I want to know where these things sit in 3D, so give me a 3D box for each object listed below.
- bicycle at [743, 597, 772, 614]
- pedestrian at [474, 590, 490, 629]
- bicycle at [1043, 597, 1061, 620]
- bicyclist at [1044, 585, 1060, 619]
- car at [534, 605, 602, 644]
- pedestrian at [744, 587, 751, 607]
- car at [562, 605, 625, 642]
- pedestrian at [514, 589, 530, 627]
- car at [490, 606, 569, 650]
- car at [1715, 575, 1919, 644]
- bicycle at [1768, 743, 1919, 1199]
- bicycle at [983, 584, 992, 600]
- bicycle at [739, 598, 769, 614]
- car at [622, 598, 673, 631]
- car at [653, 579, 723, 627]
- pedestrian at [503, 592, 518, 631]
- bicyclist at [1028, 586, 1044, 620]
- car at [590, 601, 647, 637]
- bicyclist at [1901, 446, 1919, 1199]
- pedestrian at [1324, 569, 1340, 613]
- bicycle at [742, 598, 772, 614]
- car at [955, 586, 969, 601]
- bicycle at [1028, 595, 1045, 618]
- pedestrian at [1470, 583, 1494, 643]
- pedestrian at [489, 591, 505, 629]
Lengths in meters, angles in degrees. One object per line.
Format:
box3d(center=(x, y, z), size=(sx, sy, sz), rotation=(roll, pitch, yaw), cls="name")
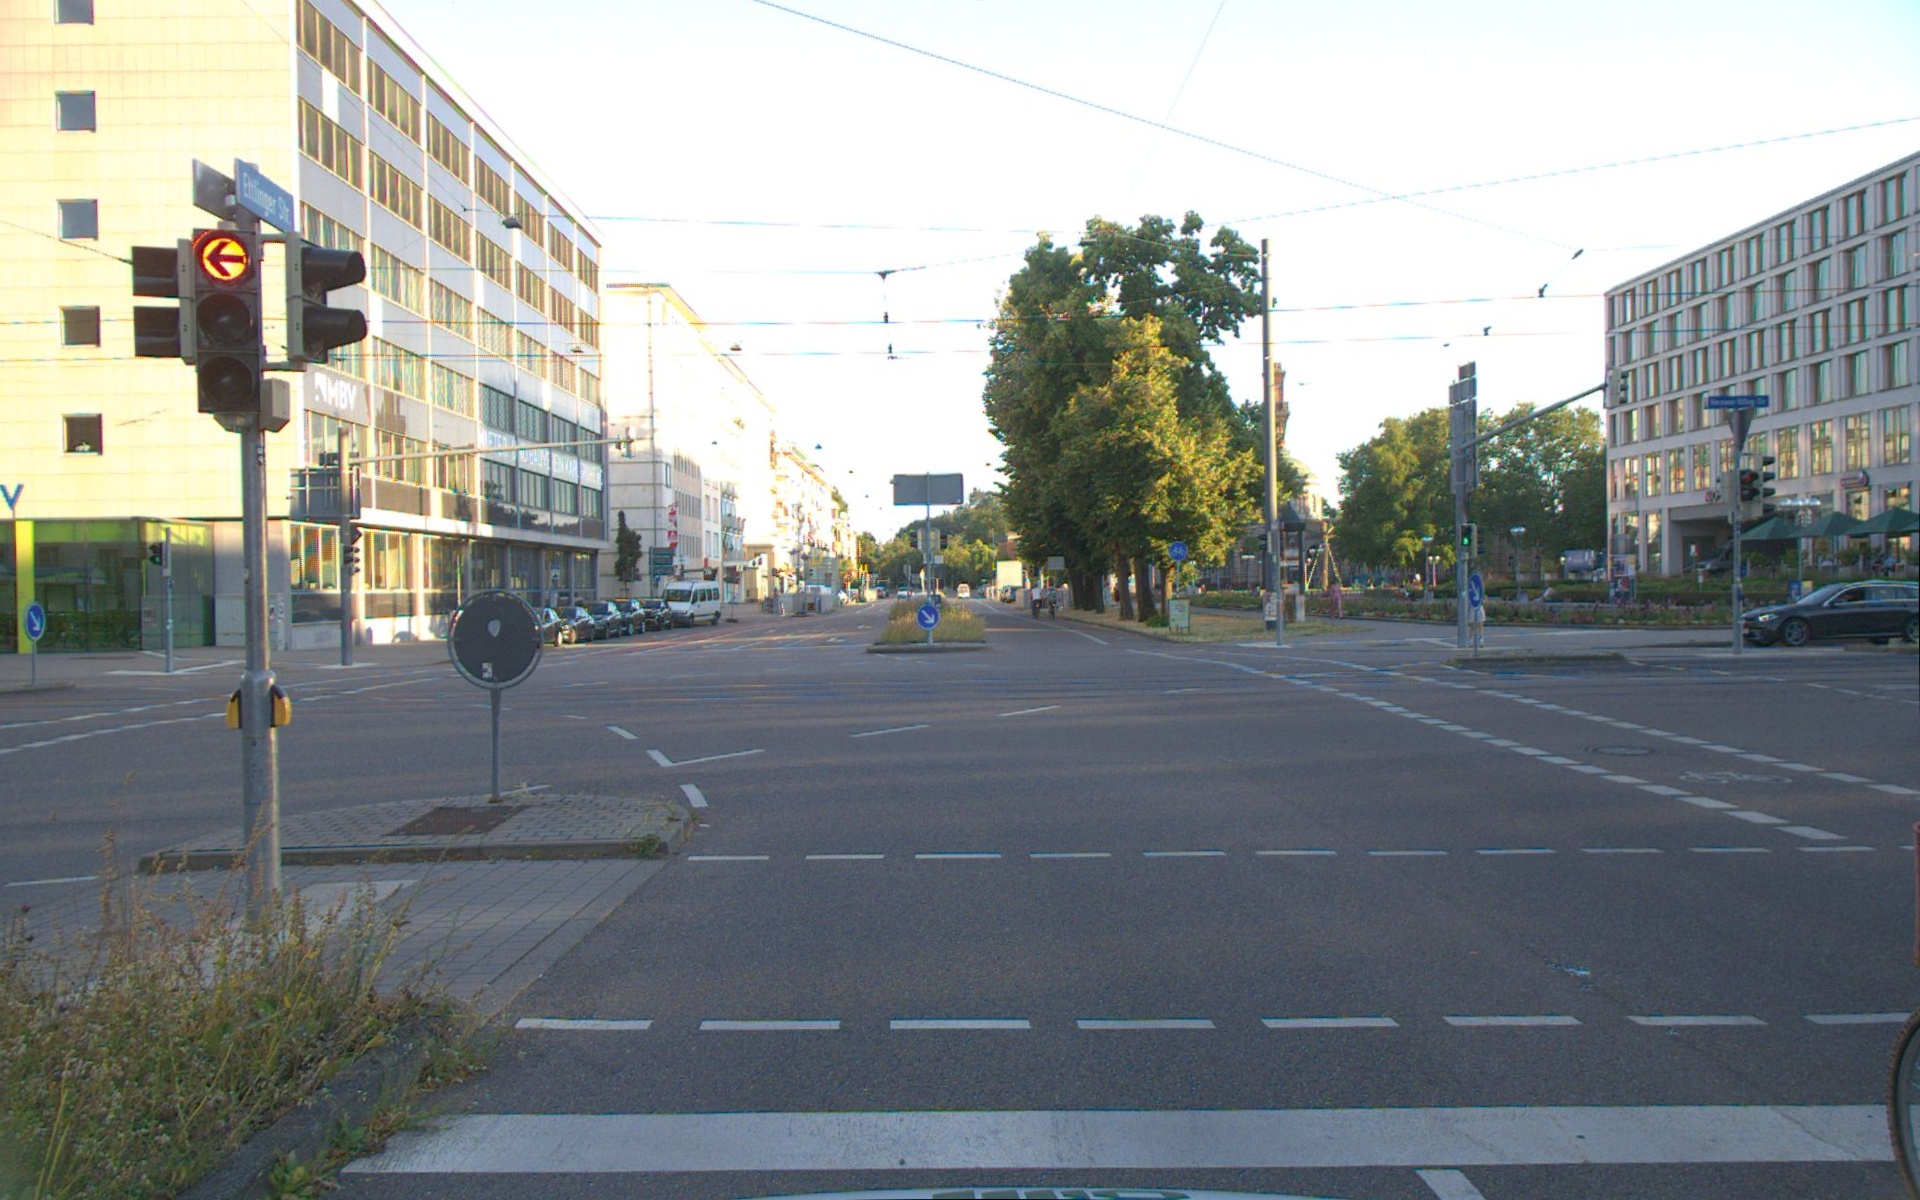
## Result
box3d(center=(-15.737, 0.415, 128.637), size=(2.161, 1.258, 0.839), rotation=(-1, 0, -2), cls="bicycle")
box3d(center=(-21.217, 0.431, 73.413), size=(0.540, 1.708, 0.500), rotation=(-1, 0, -1), cls="pedestrian")
box3d(center=(4.756, 0.418, 85.336), size=(0.731, 1.164, 2.505), rotation=(-1, 0, -1), cls="bicycle")
box3d(center=(4.746, 0.084, 85.253), size=(0.731, 1.720, 0.799), rotation=(-1, 0, -1), cls="bicyclist")
box3d(center=(-16.110, 0.989, 68.178), size=(1.882, 1.489, 3.999), rotation=(-1, 0, -1), cls="car")
box3d(center=(-21.131, -0.291, 164.498), size=(0.666, 2.049, 0.545), rotation=(-1, 0, -1), cls="pedestrian")
box3d(center=(-16.130, 1.009, 72.992), size=(1.882, 1.489, 3.999), rotation=(-1, 0, -1), cls="car")
box3d(center=(-19.451, 0.351, 73.514), size=(0.540, 1.708, 0.500), rotation=(-1, 0, -1), cls="pedestrian")
box3d(center=(-16.002, 1.029, 61.683), size=(1.882, 1.489, 4.102), rotation=(-1, 0, -1), cls="car")
box3d(center=(21.067, 0.210, 39.932), size=(4.724, 1.542, 2.000), rotation=(-1, 0, 1), cls="car")
box3d(center=(2.183, 0.914, 2.826), size=(0.599, 1.152, 2.004), rotation=(1, 0, -1), cls="bicycle")
box3d(center=(3.484, -1.014, 208.832), size=(0.981, 2.049, 4.002), rotation=(-1, 0, 3), cls="bicycle")
box3d(center=(-15.574, 0.465, 125.190), size=(2.161, 1.131, 0.618), rotation=(-1, 0, -3), cls="bicycle")
box3d(center=(-15.951, 0.730, 84.527), size=(1.882, 1.595, 3.999), rotation=(-1, 0, -1), cls="car")
box3d(center=(-14.933, 0.142, 91.002), size=(1.958, 2.521, 5.873), rotation=(-1, 0, 9), cls="car")
box3d(center=(-20.147, 0.507, 74.161), size=(0.490, 1.708, 0.500), rotation=(-1, 0, -1), cls="pedestrian")
box3d(center=(3.910, 0.143, 84.931), size=(0.731, 1.692, 0.873), rotation=(-1, 0, -1), cls="bicyclist")
box3d(center=(-16.125, 0.878, 78.295), size=(1.882, 1.595, 3.999), rotation=(-1, 0, -1), cls="car")
box3d(center=(2.189, 0.532, 2.820), size=(0.587, 1.665, 0.998), rotation=(1, 0, -1), cls="bicyclist")
box3d(center=(14.579, -0.356, 64.763), size=(0.451, 1.685, 0.566), rotation=(-1, 0, -1), cls="pedestrian")
box3d(center=(-15.564, 0.458, 126.715), size=(2.161, 1.131, 0.689), rotation=(-1, 0, -2), cls="bicycle")
box3d(center=(0.192, -0.775, 187.288), size=(1.379, 1.670, 3.998), rotation=(-1, 0, -2), cls="car")
box3d(center=(3.934, 0.329, 85.177), size=(0.731, 1.164, 2.505), rotation=(-1, 0, -1), cls="bicycle")
box3d(center=(13.759, 0.332, 43.579), size=(0.480, 1.566, 0.408), rotation=(-1, 0, -1), cls="pedestrian")
box3d(center=(-20.736, 0.442, 74.104), size=(0.540, 1.708, 0.500), rotation=(-1, 0, -1), cls="pedestrian")
